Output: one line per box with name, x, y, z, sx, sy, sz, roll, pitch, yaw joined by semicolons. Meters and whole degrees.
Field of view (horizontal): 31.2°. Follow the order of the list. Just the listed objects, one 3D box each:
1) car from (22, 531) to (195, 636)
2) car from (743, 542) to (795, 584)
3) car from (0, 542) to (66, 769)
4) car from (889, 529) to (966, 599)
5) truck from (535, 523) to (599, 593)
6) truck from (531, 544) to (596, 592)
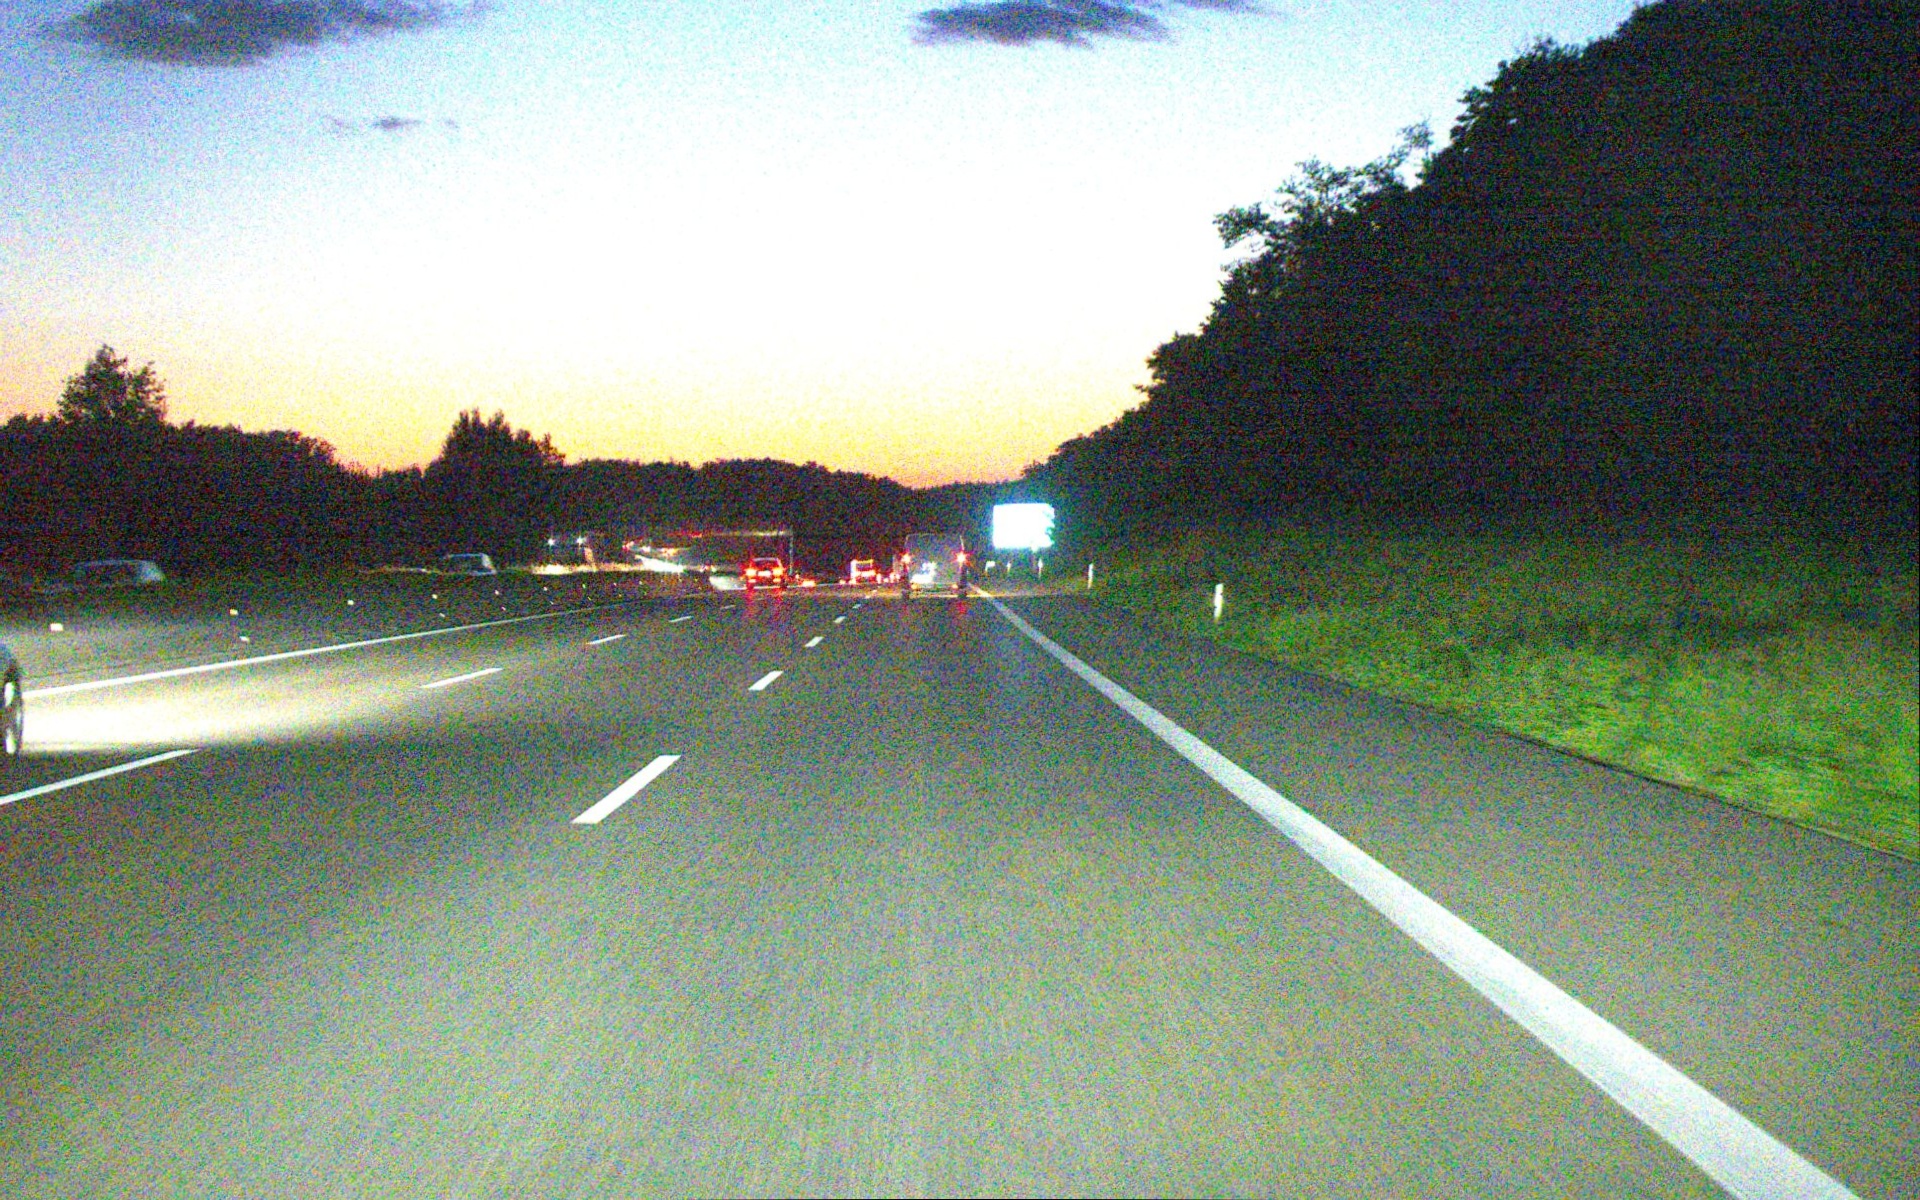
car;-16.479;-0.354;66.762;2.196;1.949;4.763;1;1;0
car;-8.899;-1.745;160.366;2.196;1.949;4.634;0;1;0
car;-7.175;0.377;21.613;1.779;1.482;5.254;0;1;0
car;-0.975;-1.108;104.421;2.196;1.948;4.763;-3;1;0
truck;-25.712;-2.787;225.277;3.325;4.418;6.708;-2;1;-1
truck;-22.419;-1.833;194.716;2.872;2.632;7.886;-1;1;-1
